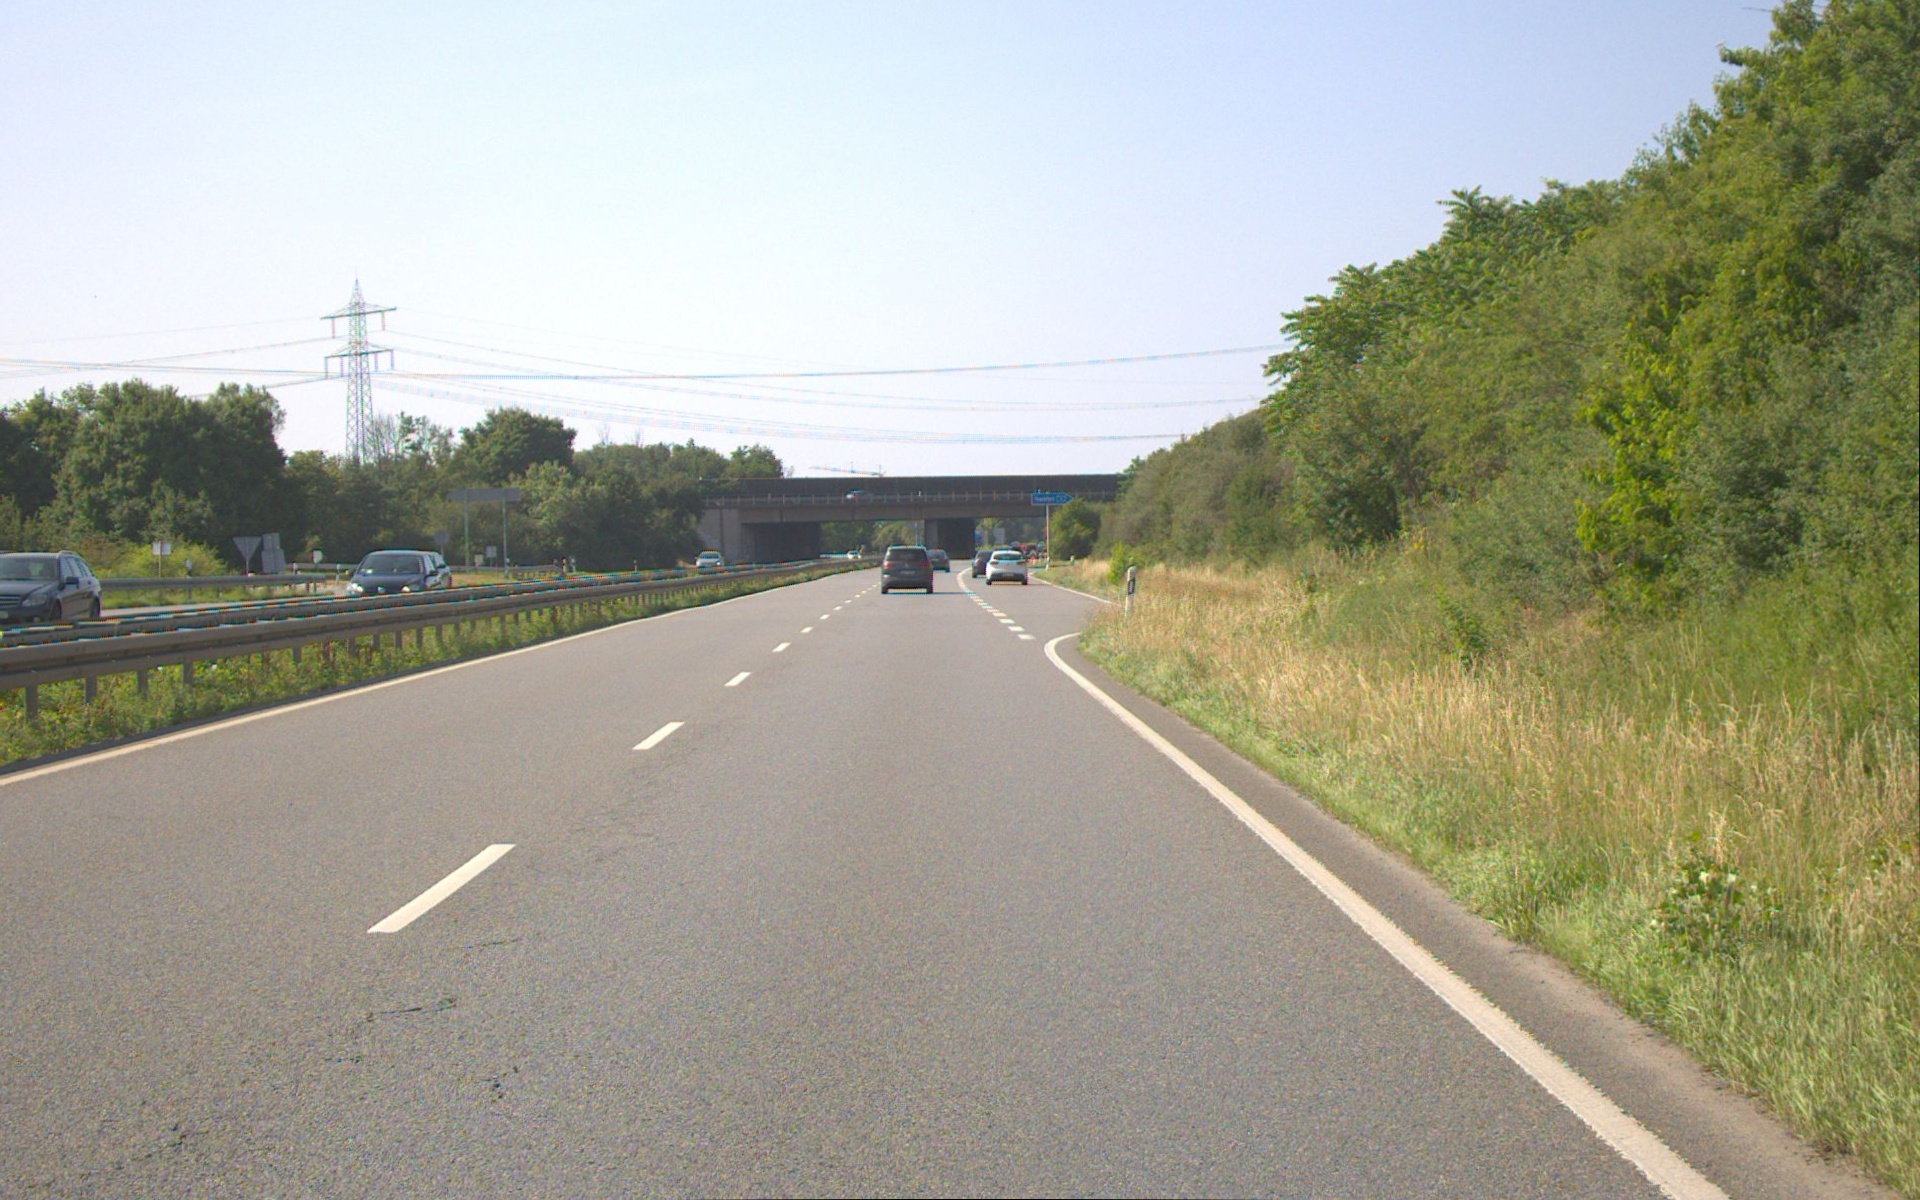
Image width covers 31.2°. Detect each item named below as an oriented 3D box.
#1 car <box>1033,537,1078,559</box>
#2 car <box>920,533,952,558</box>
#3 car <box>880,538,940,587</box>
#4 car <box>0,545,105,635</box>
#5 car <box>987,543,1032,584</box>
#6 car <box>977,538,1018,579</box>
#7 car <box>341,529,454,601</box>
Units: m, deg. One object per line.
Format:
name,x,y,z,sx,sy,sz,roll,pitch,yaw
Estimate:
car,5.892,-3.224,212.049,1.903,1.293,3.998,2,1,14
car,-1.562,-3.536,223.602,1.850,1.639,4.000,0,1,2
car,-1.693,-1.297,118.303,1.850,1.639,4.000,0,1,2
car,-15.735,-0.194,57.935,1.713,1.445,4.324,-1,1,-2
car,2.121,-1.579,146.493,1.796,1.659,4.000,1,1,2
car,1.956,-2.198,181.439,1.993,2.007,4.000,-3,1,-1
car,-12.318,-0.791,75.546,1.814,1.468,4.324,1,1,-1
